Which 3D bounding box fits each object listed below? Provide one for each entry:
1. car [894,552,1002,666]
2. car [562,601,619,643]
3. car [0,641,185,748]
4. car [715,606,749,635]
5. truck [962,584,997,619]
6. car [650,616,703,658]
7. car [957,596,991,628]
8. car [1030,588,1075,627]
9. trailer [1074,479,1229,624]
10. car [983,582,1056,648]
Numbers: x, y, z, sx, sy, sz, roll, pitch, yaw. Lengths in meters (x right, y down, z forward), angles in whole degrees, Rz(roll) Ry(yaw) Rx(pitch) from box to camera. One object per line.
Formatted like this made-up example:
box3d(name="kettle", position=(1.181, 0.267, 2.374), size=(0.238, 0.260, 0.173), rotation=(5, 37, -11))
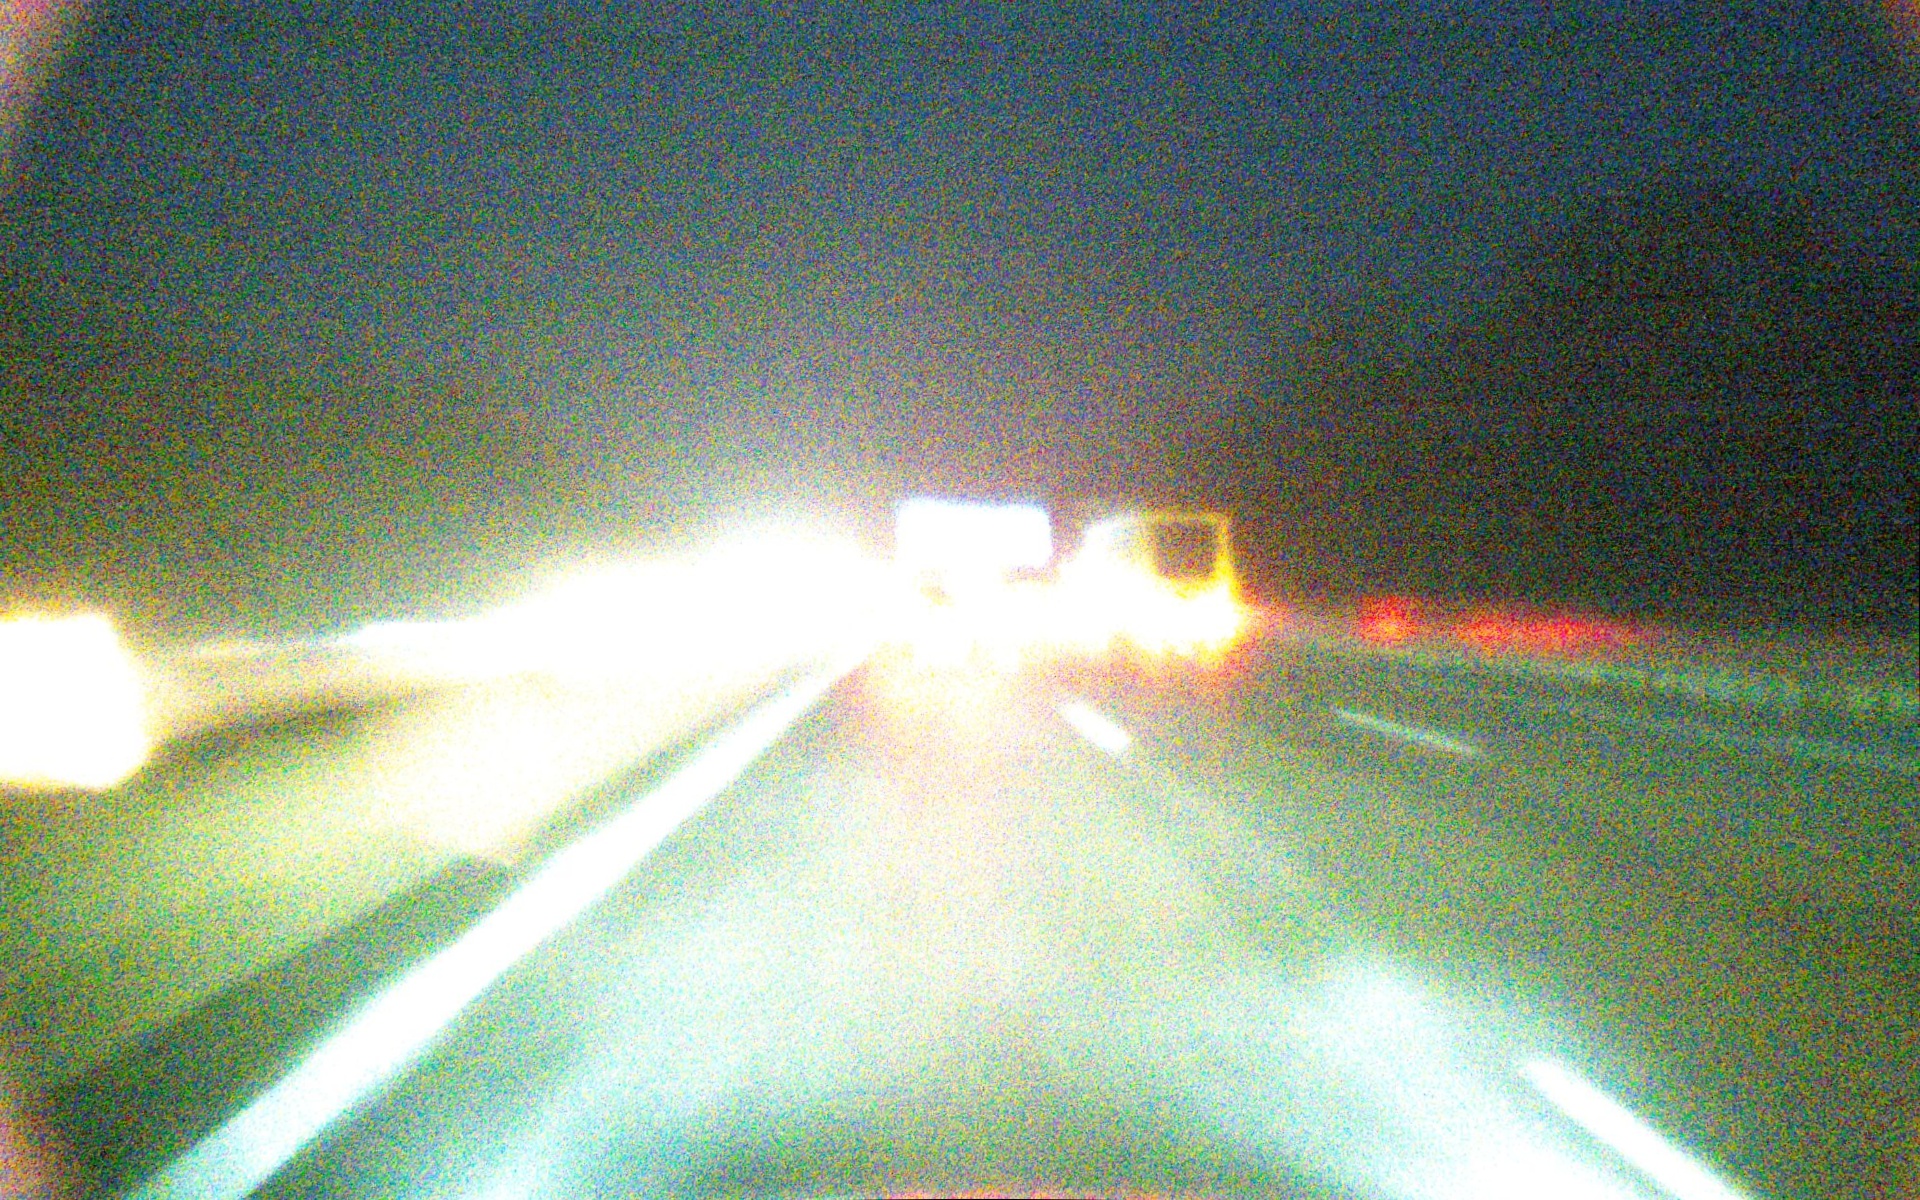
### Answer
box3d(name="car", position=(-0.255, 0.166, 32.039), size=(1.953, 2.049, 3.999), rotation=(0, 0, -1))
box3d(name="car", position=(-18.204, 1.058, 81.630), size=(1.954, 1.847, 5.090), rotation=(1, 1, -4))
box3d(name="car", position=(-16.384, 1.688, 30.663), size=(1.877, 1.713, 4.505), rotation=(-2, 0, 0))
box3d(name="car", position=(-15.329, 1.360, 111.160), size=(1.954, 1.791, 3.997), rotation=(1, 1, -4))
box3d(name="truck", position=(1.951, 0.181, 169.808), size=(2.976, 3.355, 11.376), rotation=(-2, 0, -2))
box3d(name="car", position=(-13.725, 1.769, 80.274), size=(1.953, 1.791, 4.653), rotation=(1, 1, -2))
box3d(name="car", position=(0.949, 0.804, 112.925), size=(1.954, 2.049, 3.997), rotation=(-2, 0, -4))
box3d(name="car", position=(5.166, 0.407, 92.680), size=(1.954, 2.049, 3.997), rotation=(-2, 0, -4))
box3d(name="trailer", position=(6.100, -1.433, 55.412), size=(2.980, 4.180, 13.822), rotation=(-2, 0, -2))
box3d(name="car", position=(1.918, 0.488, 54.860), size=(1.954, 2.049, 3.997), rotation=(-2, 0, -4))
